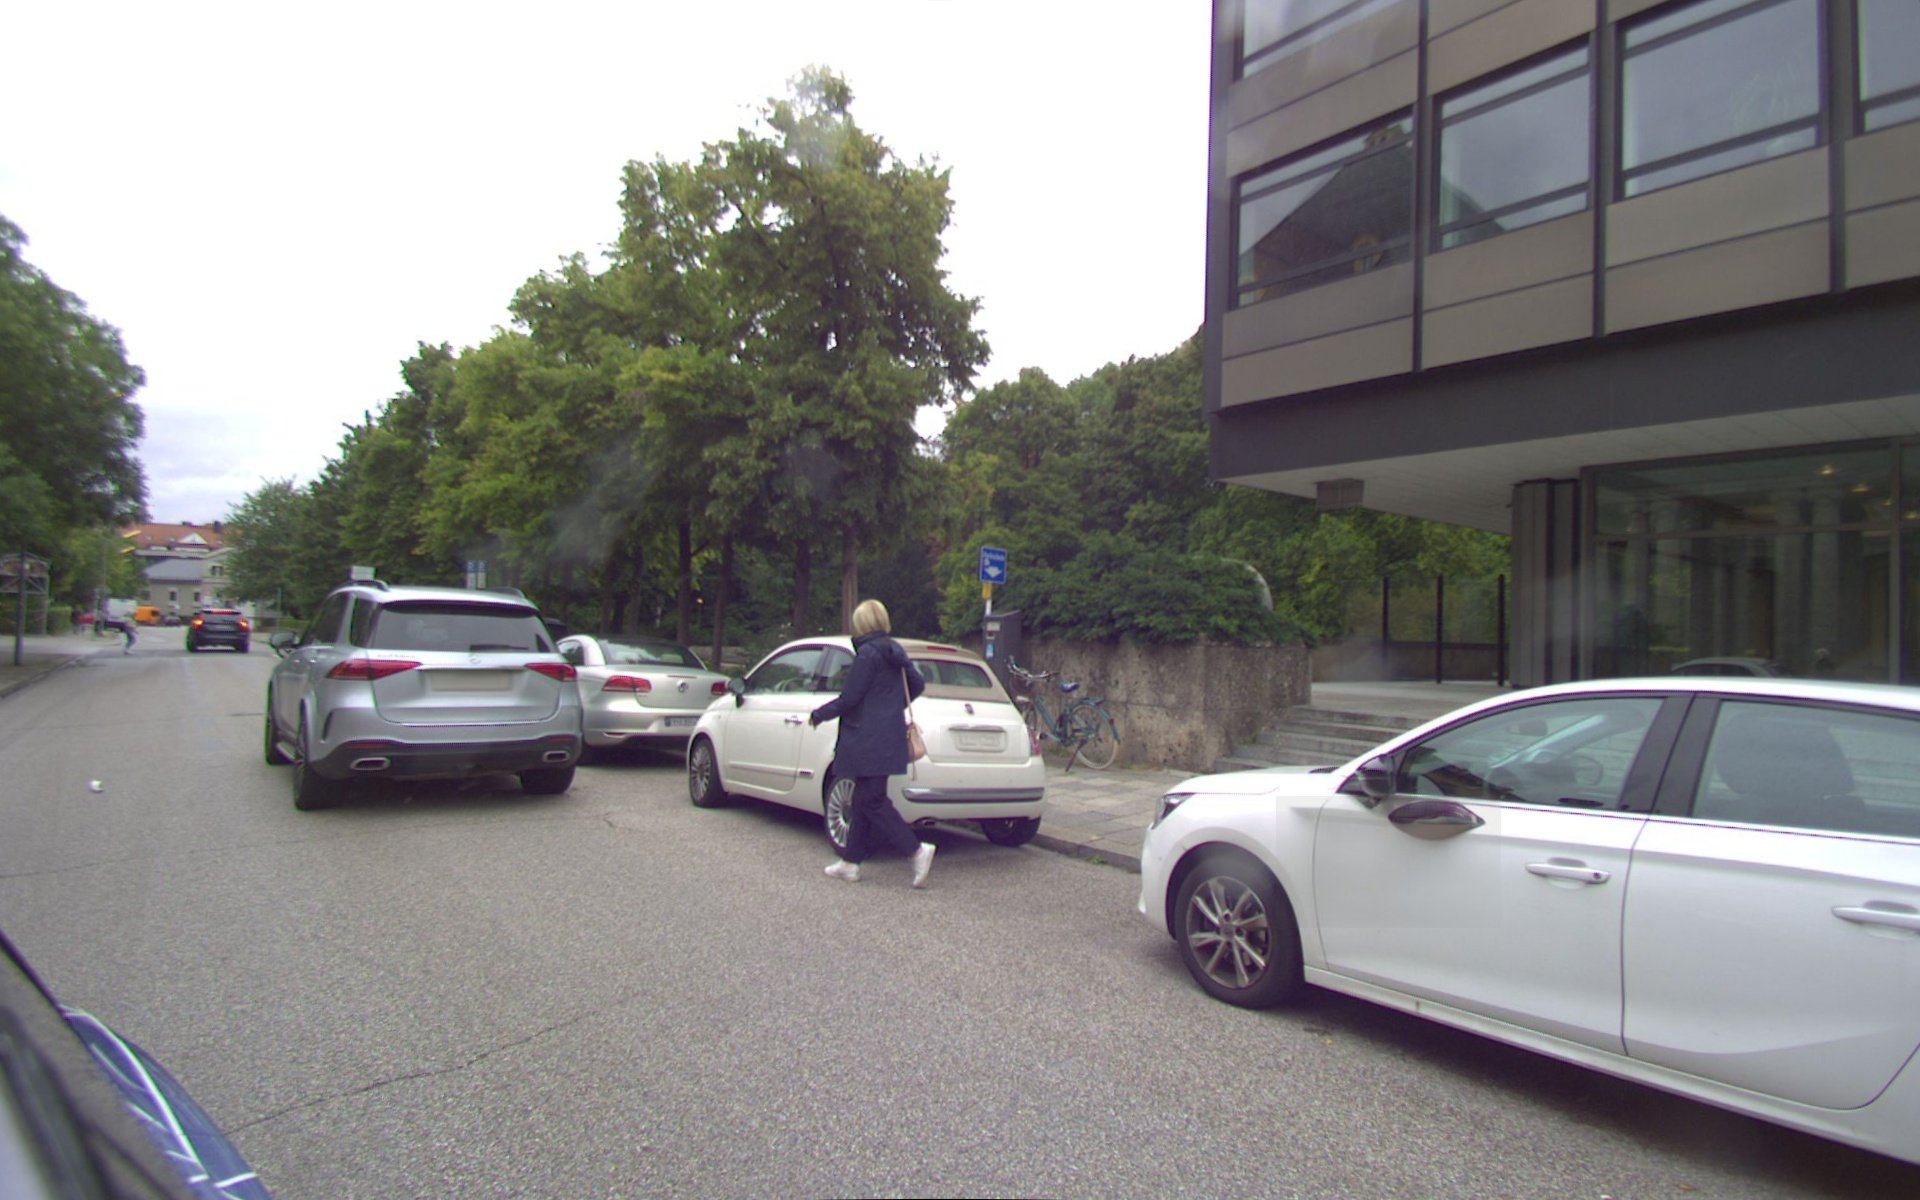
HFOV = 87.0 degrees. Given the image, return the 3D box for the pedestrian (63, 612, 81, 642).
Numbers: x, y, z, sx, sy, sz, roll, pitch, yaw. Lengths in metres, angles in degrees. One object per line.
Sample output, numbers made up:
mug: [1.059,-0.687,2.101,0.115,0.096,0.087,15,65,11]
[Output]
pedestrian: [-55.418,1.677,63.133,0.998,1.879,0.766,-1,0,44]

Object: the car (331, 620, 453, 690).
car: [-13.943,1.312,24.738,1.967,1.555,4.373,4,-3,-37]

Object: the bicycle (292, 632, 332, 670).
bicycle: [-22.630,1.755,35.366,0.567,1.292,1.420,0,-1,-6]

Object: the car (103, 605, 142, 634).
car: [-70.457,1.604,85.110,2.203,2.319,4.735,0,0,-43]

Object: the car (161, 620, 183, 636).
car: [-100.145,3.559,128.557,2.188,1.864,4.740,0,0,-38]

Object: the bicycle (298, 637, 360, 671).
bicycle: [-21.415,1.820,34.373,0.599,1.116,1.676,-1,-3,43]

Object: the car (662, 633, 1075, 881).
car: [-0.906,1.054,8.060,1.523,1.482,3.560,5,-4,-38]

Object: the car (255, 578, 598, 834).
car: [-5.071,0.802,9.219,1.998,1.702,4.687,4,-3,-36]

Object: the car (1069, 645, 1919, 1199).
car: [2.512,0.983,3.648,1.660,1.451,4.288,6,-5,-37]

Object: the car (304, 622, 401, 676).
car: [-18.190,1.442,30.232,1.967,1.472,4.373,4,-3,-37]

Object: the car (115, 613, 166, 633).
car: [-109.103,3.034,134.833,4.925,2.554,2.569,-1,0,6]

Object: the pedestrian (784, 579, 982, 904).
pedestrian: [-0.441,0.791,6.056,0.887,1.765,0.685,1,-5,23]

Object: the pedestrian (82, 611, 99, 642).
pedestrian: [-54.729,1.665,63.709,0.766,1.879,0.998,0,0,-44]

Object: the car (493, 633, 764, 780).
car: [-4.127,1.185,12.141,1.735,1.411,4.226,7,-5,-36]

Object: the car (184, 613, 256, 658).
car: [-30.409,1.444,41.524,1.936,1.694,4.919,5,-4,-40]

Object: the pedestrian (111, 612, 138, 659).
pedestrian: [-31.910,1.332,38.652,0.786,1.744,0.662,0,0,-40]

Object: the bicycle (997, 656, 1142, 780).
bicycle: [1.140,1.212,10.818,0.634,1.173,1.530,0,-1,-39]

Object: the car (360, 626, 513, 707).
car: [-10.816,1.303,20.741,1.967,1.472,4.657,4,-3,-37]
